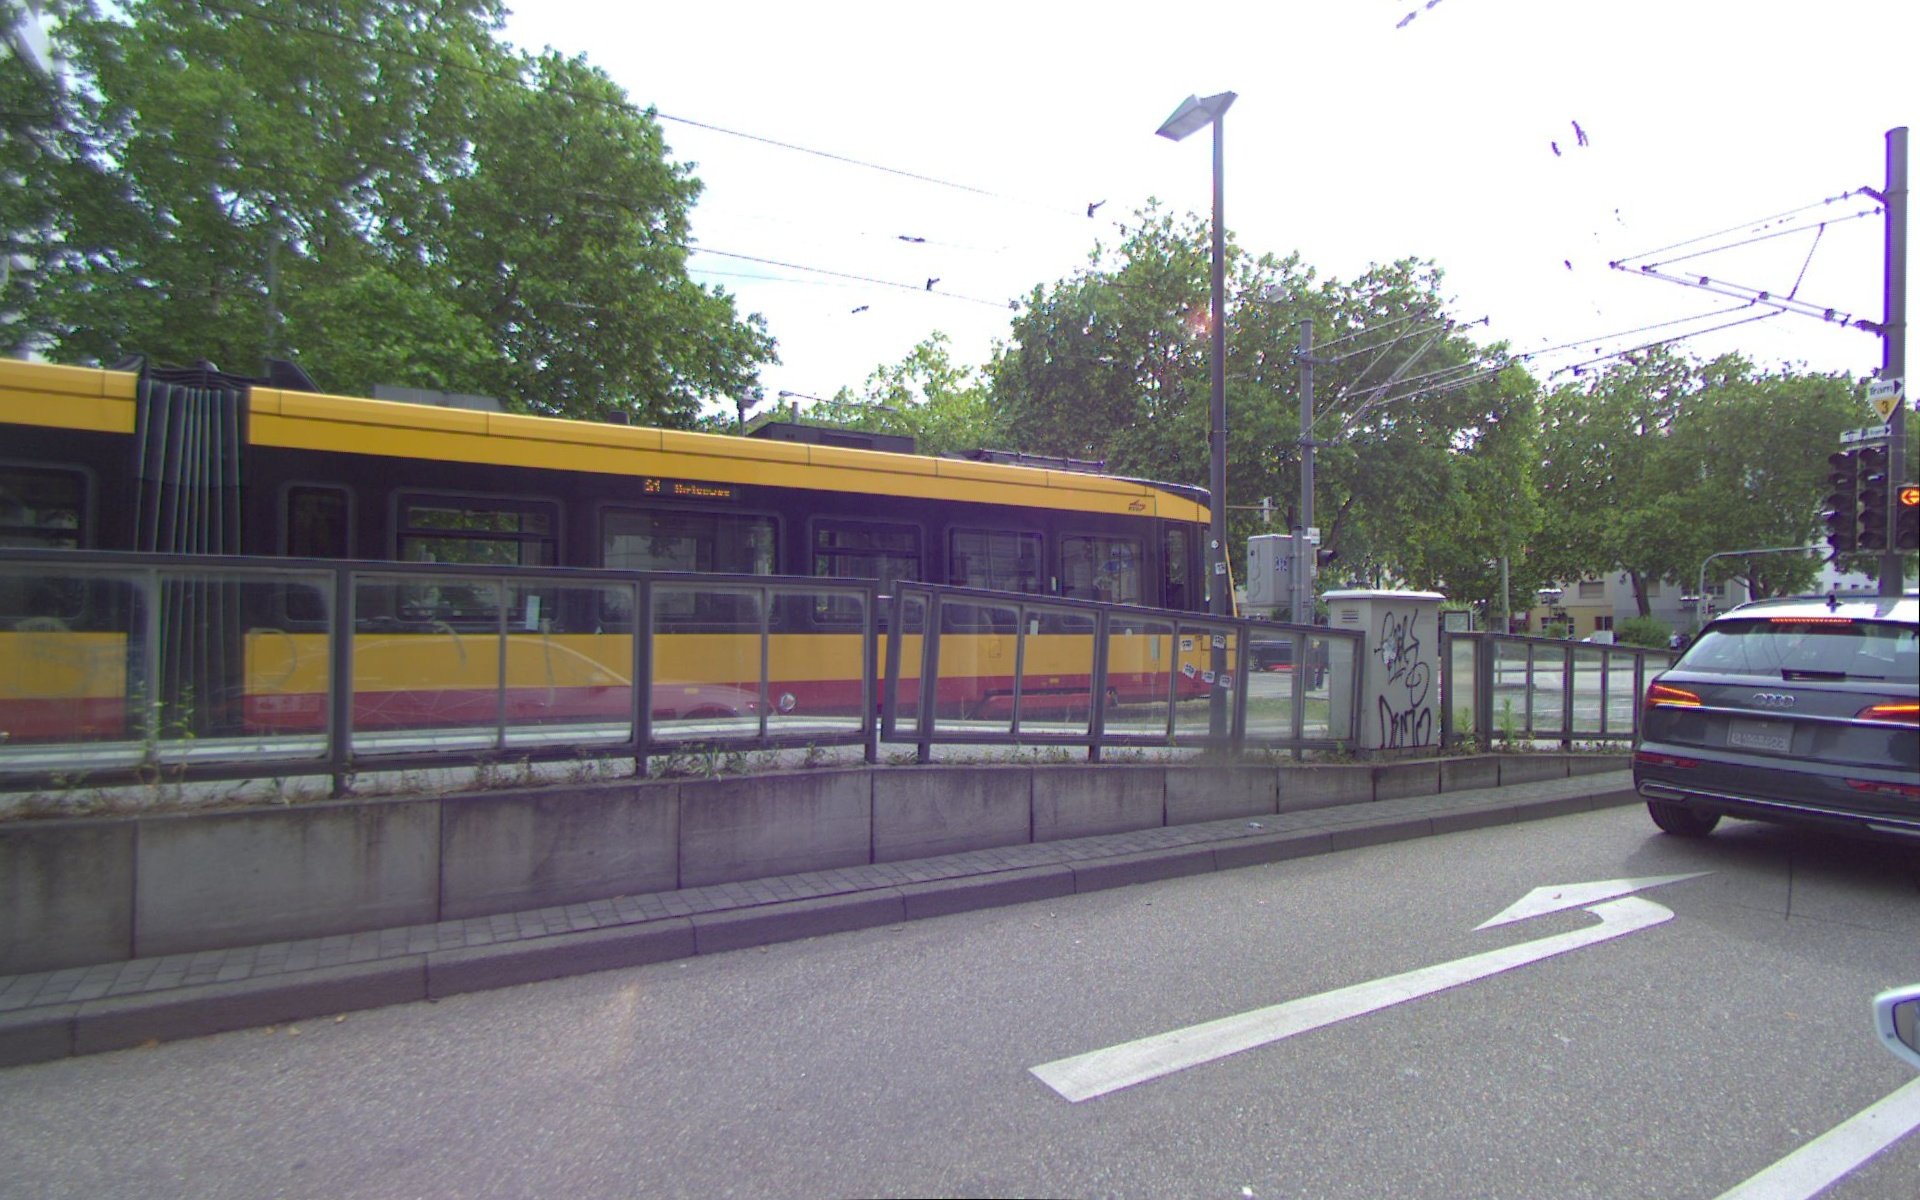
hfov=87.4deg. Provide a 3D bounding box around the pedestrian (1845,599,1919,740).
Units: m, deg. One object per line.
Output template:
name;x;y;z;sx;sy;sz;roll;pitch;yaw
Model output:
pedestrian;11.677;0.840;12.532;0.747;1.683;0.724;2;0;-30

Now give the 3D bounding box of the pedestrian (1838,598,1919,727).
pedestrian;13.706;0.907;14.865;0.999;1.837;0.582;1;0;38

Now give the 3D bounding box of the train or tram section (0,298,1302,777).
train or tram section;-2.439;-0.306;12.277;15.664;3.636;3.045;2;0;-31

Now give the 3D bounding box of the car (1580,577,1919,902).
car;6.305;0.757;6.762;4.307;1.622;1.871;2;-1;-31

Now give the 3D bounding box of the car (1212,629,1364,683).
car;10.772;1.789;33.137;4.379;1.530;1.830;1;0;40
